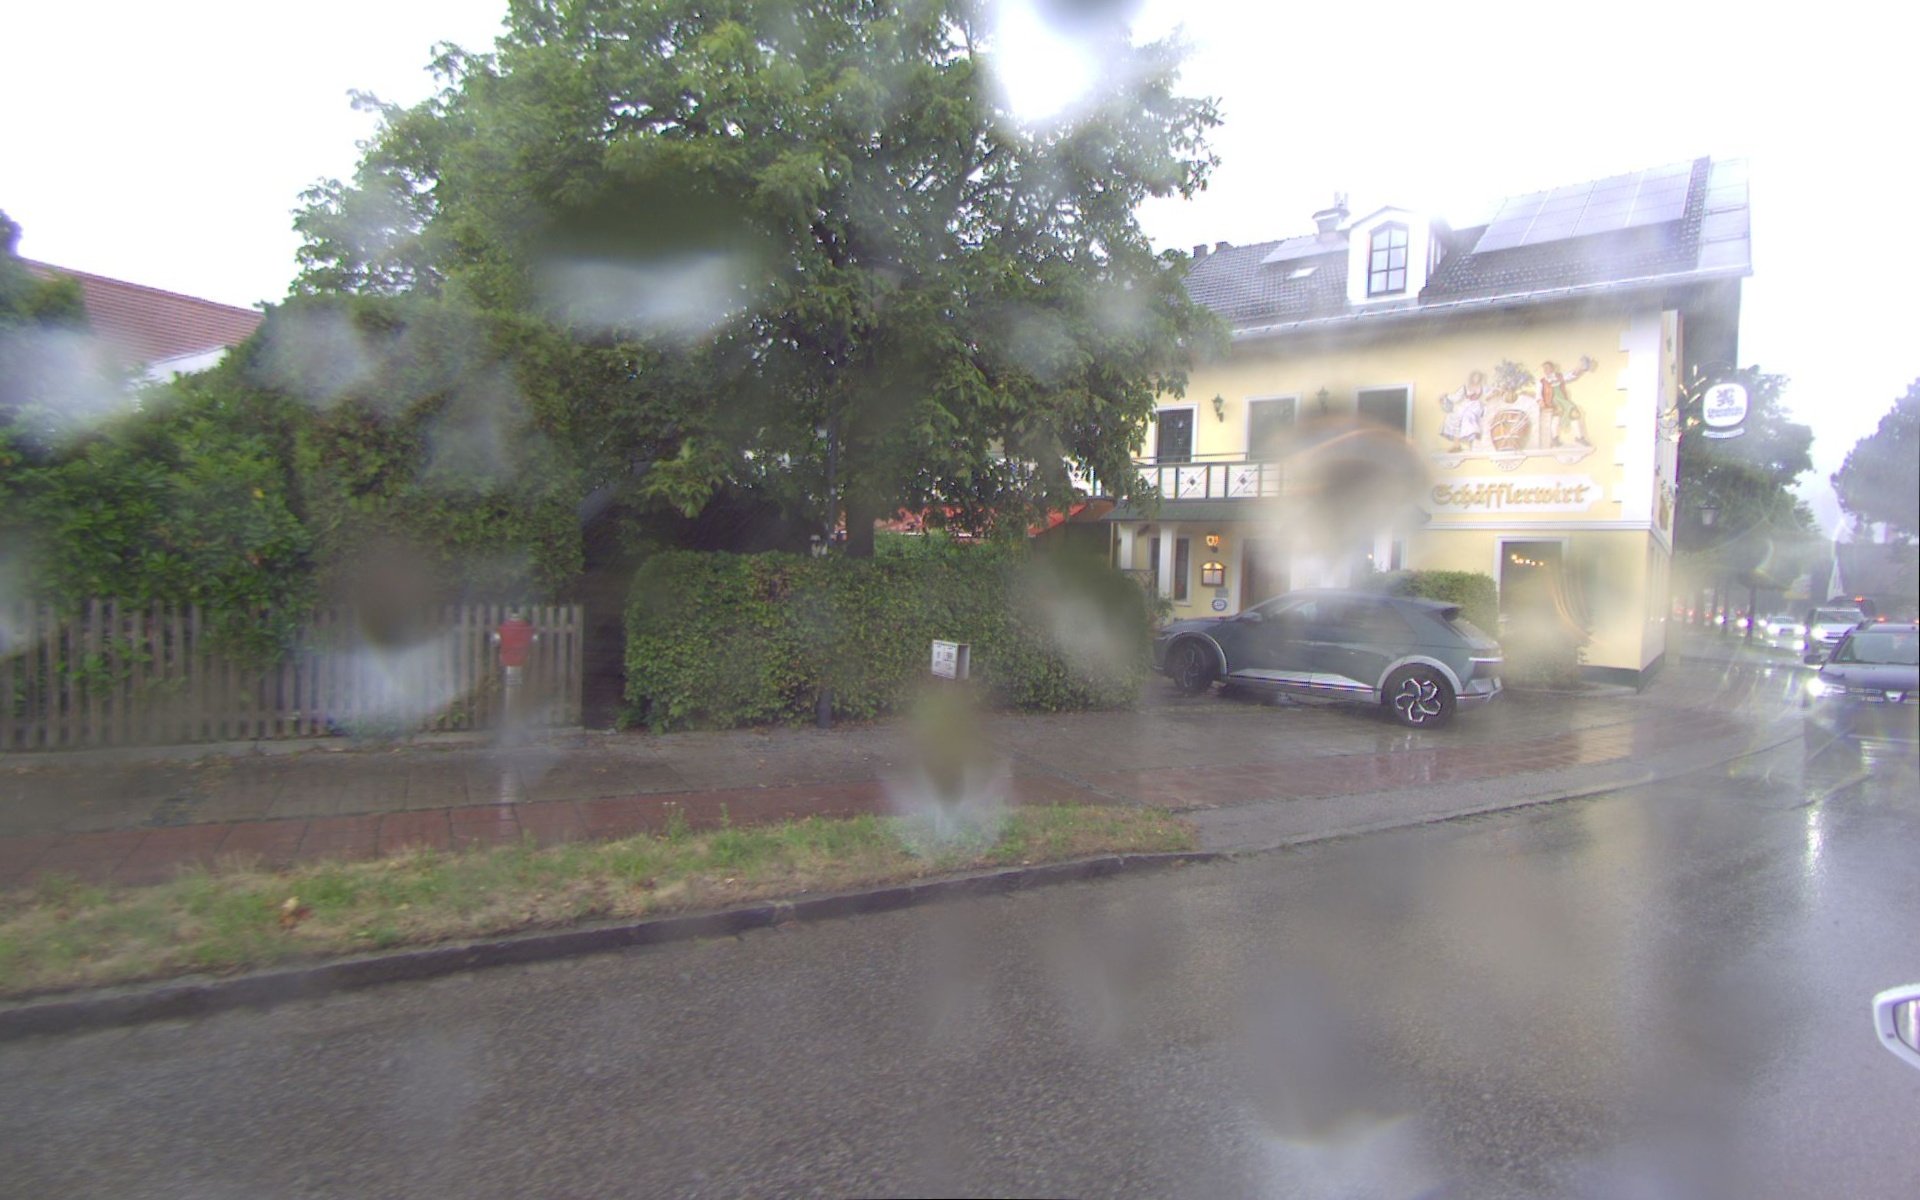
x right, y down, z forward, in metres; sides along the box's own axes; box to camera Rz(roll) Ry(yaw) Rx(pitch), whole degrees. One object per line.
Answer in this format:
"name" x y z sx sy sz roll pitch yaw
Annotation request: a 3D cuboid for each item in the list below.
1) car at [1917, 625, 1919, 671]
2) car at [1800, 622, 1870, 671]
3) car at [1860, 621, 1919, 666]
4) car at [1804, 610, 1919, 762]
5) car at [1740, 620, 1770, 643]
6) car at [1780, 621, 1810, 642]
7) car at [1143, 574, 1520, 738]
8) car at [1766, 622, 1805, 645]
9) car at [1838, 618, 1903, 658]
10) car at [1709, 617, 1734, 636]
"car" 38.894 1.990 38.766 2.141 1.925 4.995 3 2 37
"car" 38.135 1.999 43.862 1.826 1.997 4.686 1 -1 36
"car" 46.135 2.103 49.461 2.141 1.925 4.995 3 2 37
"car" 11.557 0.976 12.169 3.512 1.631 1.572 2 -1 -42
"car" 64.553 2.535 81.629 1.839 1.781 4.464 -2 -2 38
"car" 89.131 3.319 107.292 2.141 1.925 4.995 3 2 37
"car" 4.957 0.604 13.706 4.416 1.589 1.832 6 5 36
"car" 53.260 2.131 64.854 1.839 1.377 4.463 0 0 39
"car" 50.932 2.094 56.276 2.141 1.925 4.995 3 2 37
"car" 73.942 2.544 97.544 1.839 1.781 4.464 -2 -2 38
